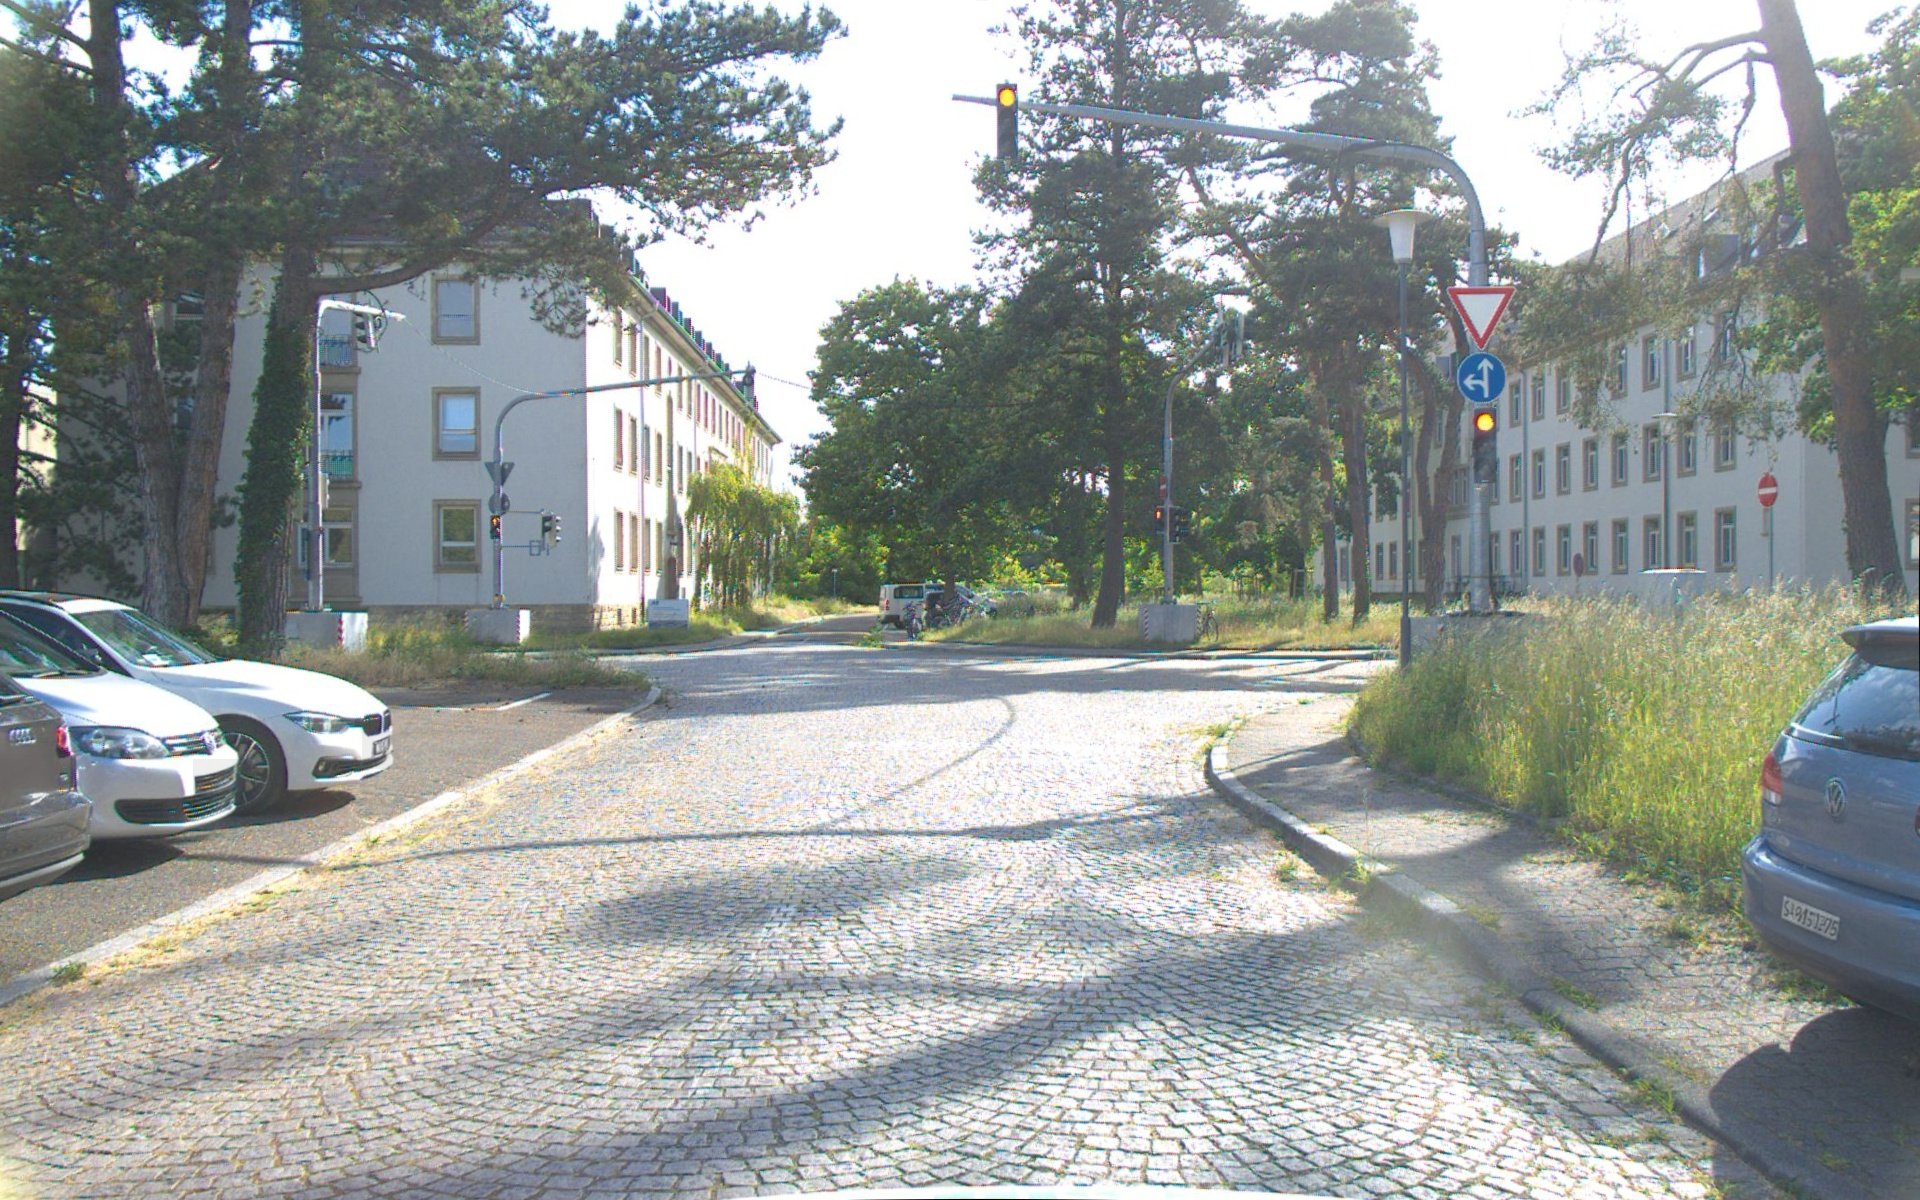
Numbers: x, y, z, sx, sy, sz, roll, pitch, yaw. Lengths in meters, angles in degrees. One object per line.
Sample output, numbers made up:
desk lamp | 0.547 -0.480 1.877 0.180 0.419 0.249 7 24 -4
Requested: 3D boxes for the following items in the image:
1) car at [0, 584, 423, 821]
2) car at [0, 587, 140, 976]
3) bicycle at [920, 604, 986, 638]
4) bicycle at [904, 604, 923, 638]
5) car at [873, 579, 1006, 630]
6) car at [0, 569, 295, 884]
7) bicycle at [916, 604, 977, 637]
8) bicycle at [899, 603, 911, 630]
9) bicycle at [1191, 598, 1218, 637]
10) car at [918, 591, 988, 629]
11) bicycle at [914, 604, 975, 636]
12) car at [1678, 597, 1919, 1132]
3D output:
car | -6.304 0.668 11.946 4.248 1.494 1.829 2 1 -5
car | -5.727 0.660 6.649 3.909 1.506 1.802 2 1 -5
bicycle | -0.234 0.677 54.011 2.070 1.028 0.619 2 -1 -9
bicycle | -1.409 0.632 50.401 0.458 1.028 1.584 2 0 -5
car | -0.895 0.197 72.073 5.439 2.049 1.989 2 -1 -20
car | -6.226 0.619 9.538 4.000 1.621 1.884 2 1 -5
bicycle | -0.444 0.681 55.718 1.967 1.028 0.631 2 -1 -9
bicycle | -2.110 0.640 63.610 0.409 1.028 1.483 2 0 -1
bicycle | 6.227 0.438 42.106 0.295 0.977 1.584 2 0 -5
car | -0.305 0.412 68.487 2.728 1.492 1.669 2 -1 -6
bicycle | -0.542 0.684 56.598 1.991 1.028 0.626 2 -1 -9
car | 4.537 0.688 5.229 3.803 1.440 1.636 -2 1 -1
